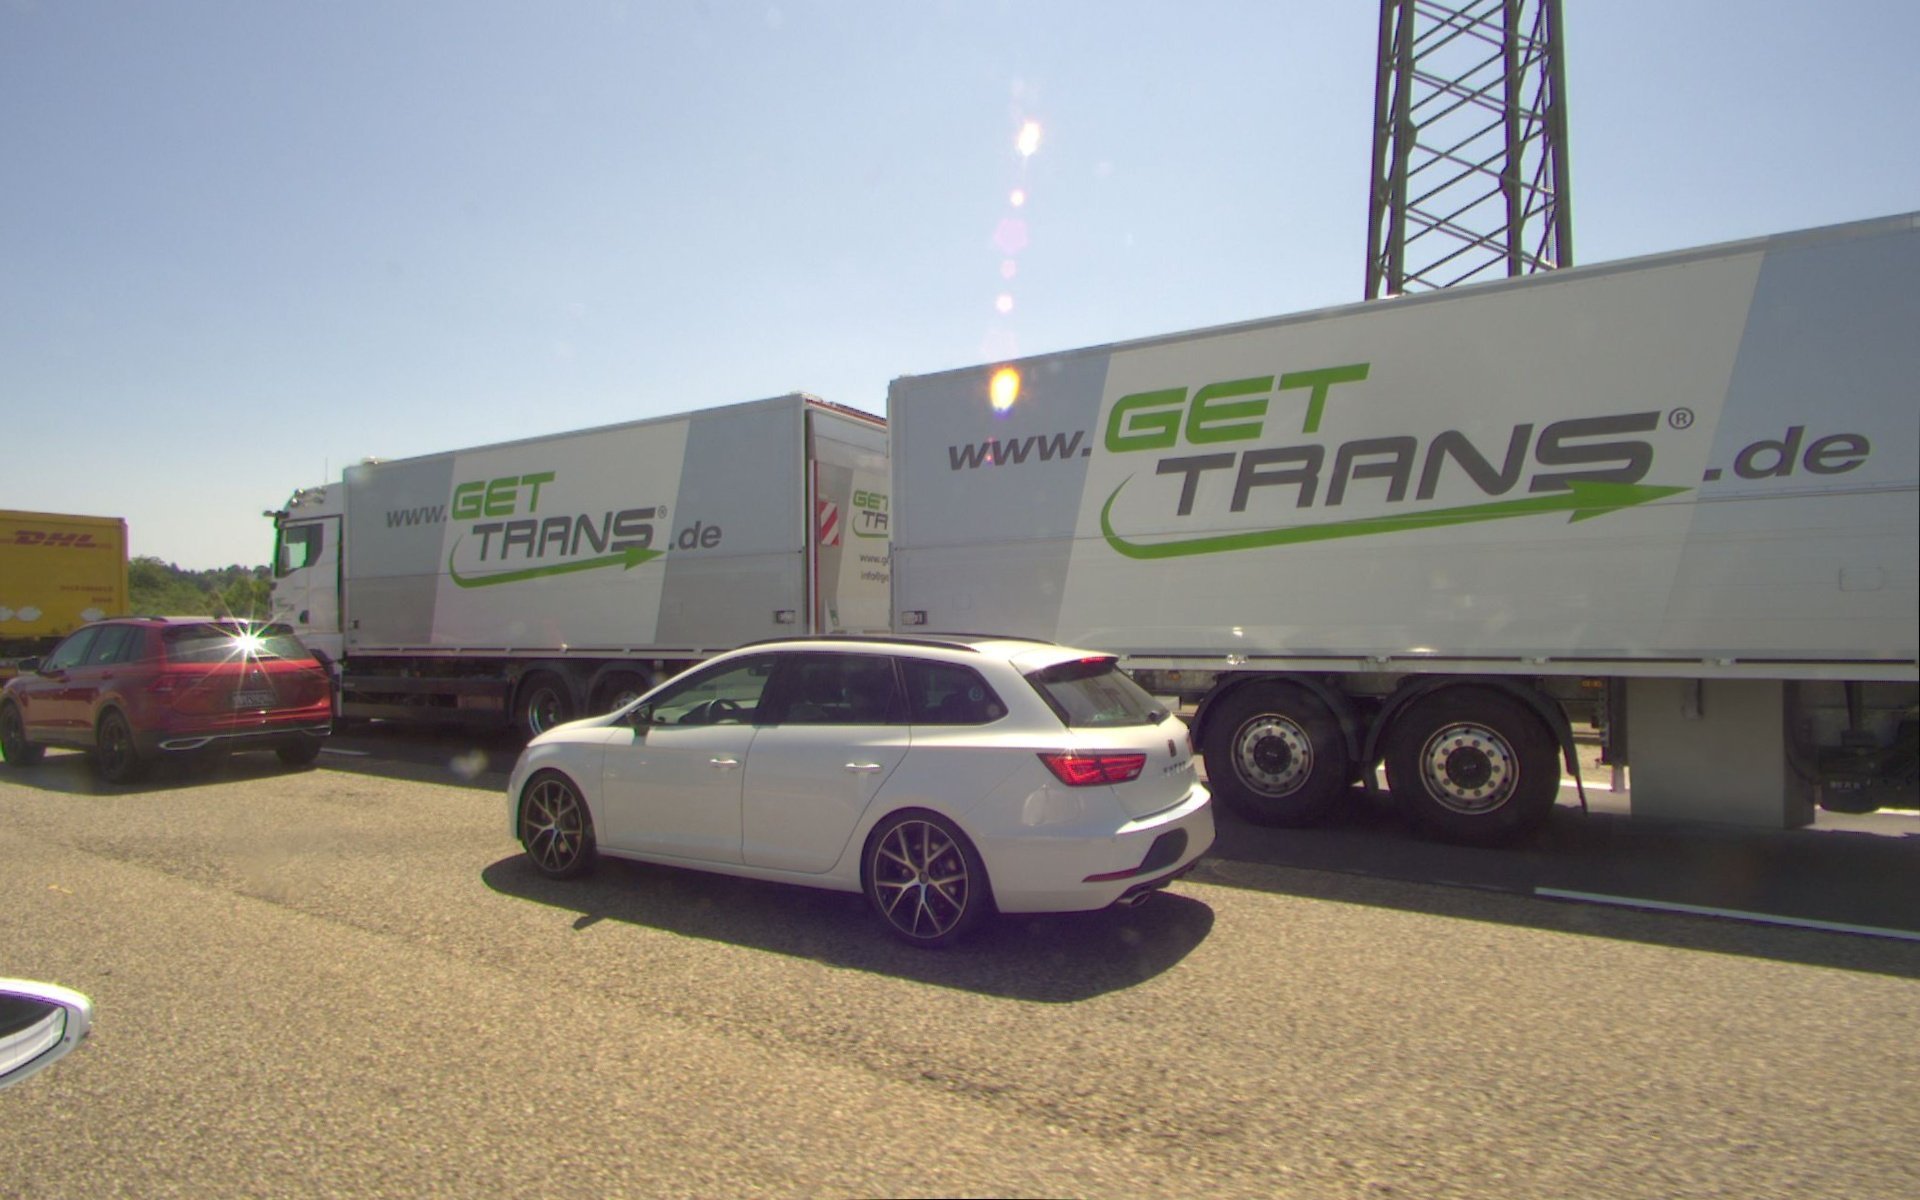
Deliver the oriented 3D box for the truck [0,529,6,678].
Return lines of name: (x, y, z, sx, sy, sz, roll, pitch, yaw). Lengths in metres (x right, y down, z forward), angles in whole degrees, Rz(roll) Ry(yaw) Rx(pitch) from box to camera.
truck: (-31.348, 0.176, 29.104, 9.794, 4.139, 2.696, -2, -2, 31)

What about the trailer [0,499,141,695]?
trailer: (-23.454, 0.078, 24.270, 8.848, 4.139, 2.679, -2, -2, 31)

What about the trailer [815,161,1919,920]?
trailer: (2.872, -0.187, 8.192, 8.096, 3.940, 2.895, -2, -2, 31)

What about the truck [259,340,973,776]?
truck: (-5.034, -0.218, 13.098, 10.457, 3.984, 2.848, -2, -2, 32)

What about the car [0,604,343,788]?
car: (-8.841, 0.946, 11.081, 4.223, 1.701, 1.705, -2, -1, 32)

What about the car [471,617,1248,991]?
car: (-0.739, 0.851, 5.820, 4.364, 1.470, 1.706, -1, -2, 31)
